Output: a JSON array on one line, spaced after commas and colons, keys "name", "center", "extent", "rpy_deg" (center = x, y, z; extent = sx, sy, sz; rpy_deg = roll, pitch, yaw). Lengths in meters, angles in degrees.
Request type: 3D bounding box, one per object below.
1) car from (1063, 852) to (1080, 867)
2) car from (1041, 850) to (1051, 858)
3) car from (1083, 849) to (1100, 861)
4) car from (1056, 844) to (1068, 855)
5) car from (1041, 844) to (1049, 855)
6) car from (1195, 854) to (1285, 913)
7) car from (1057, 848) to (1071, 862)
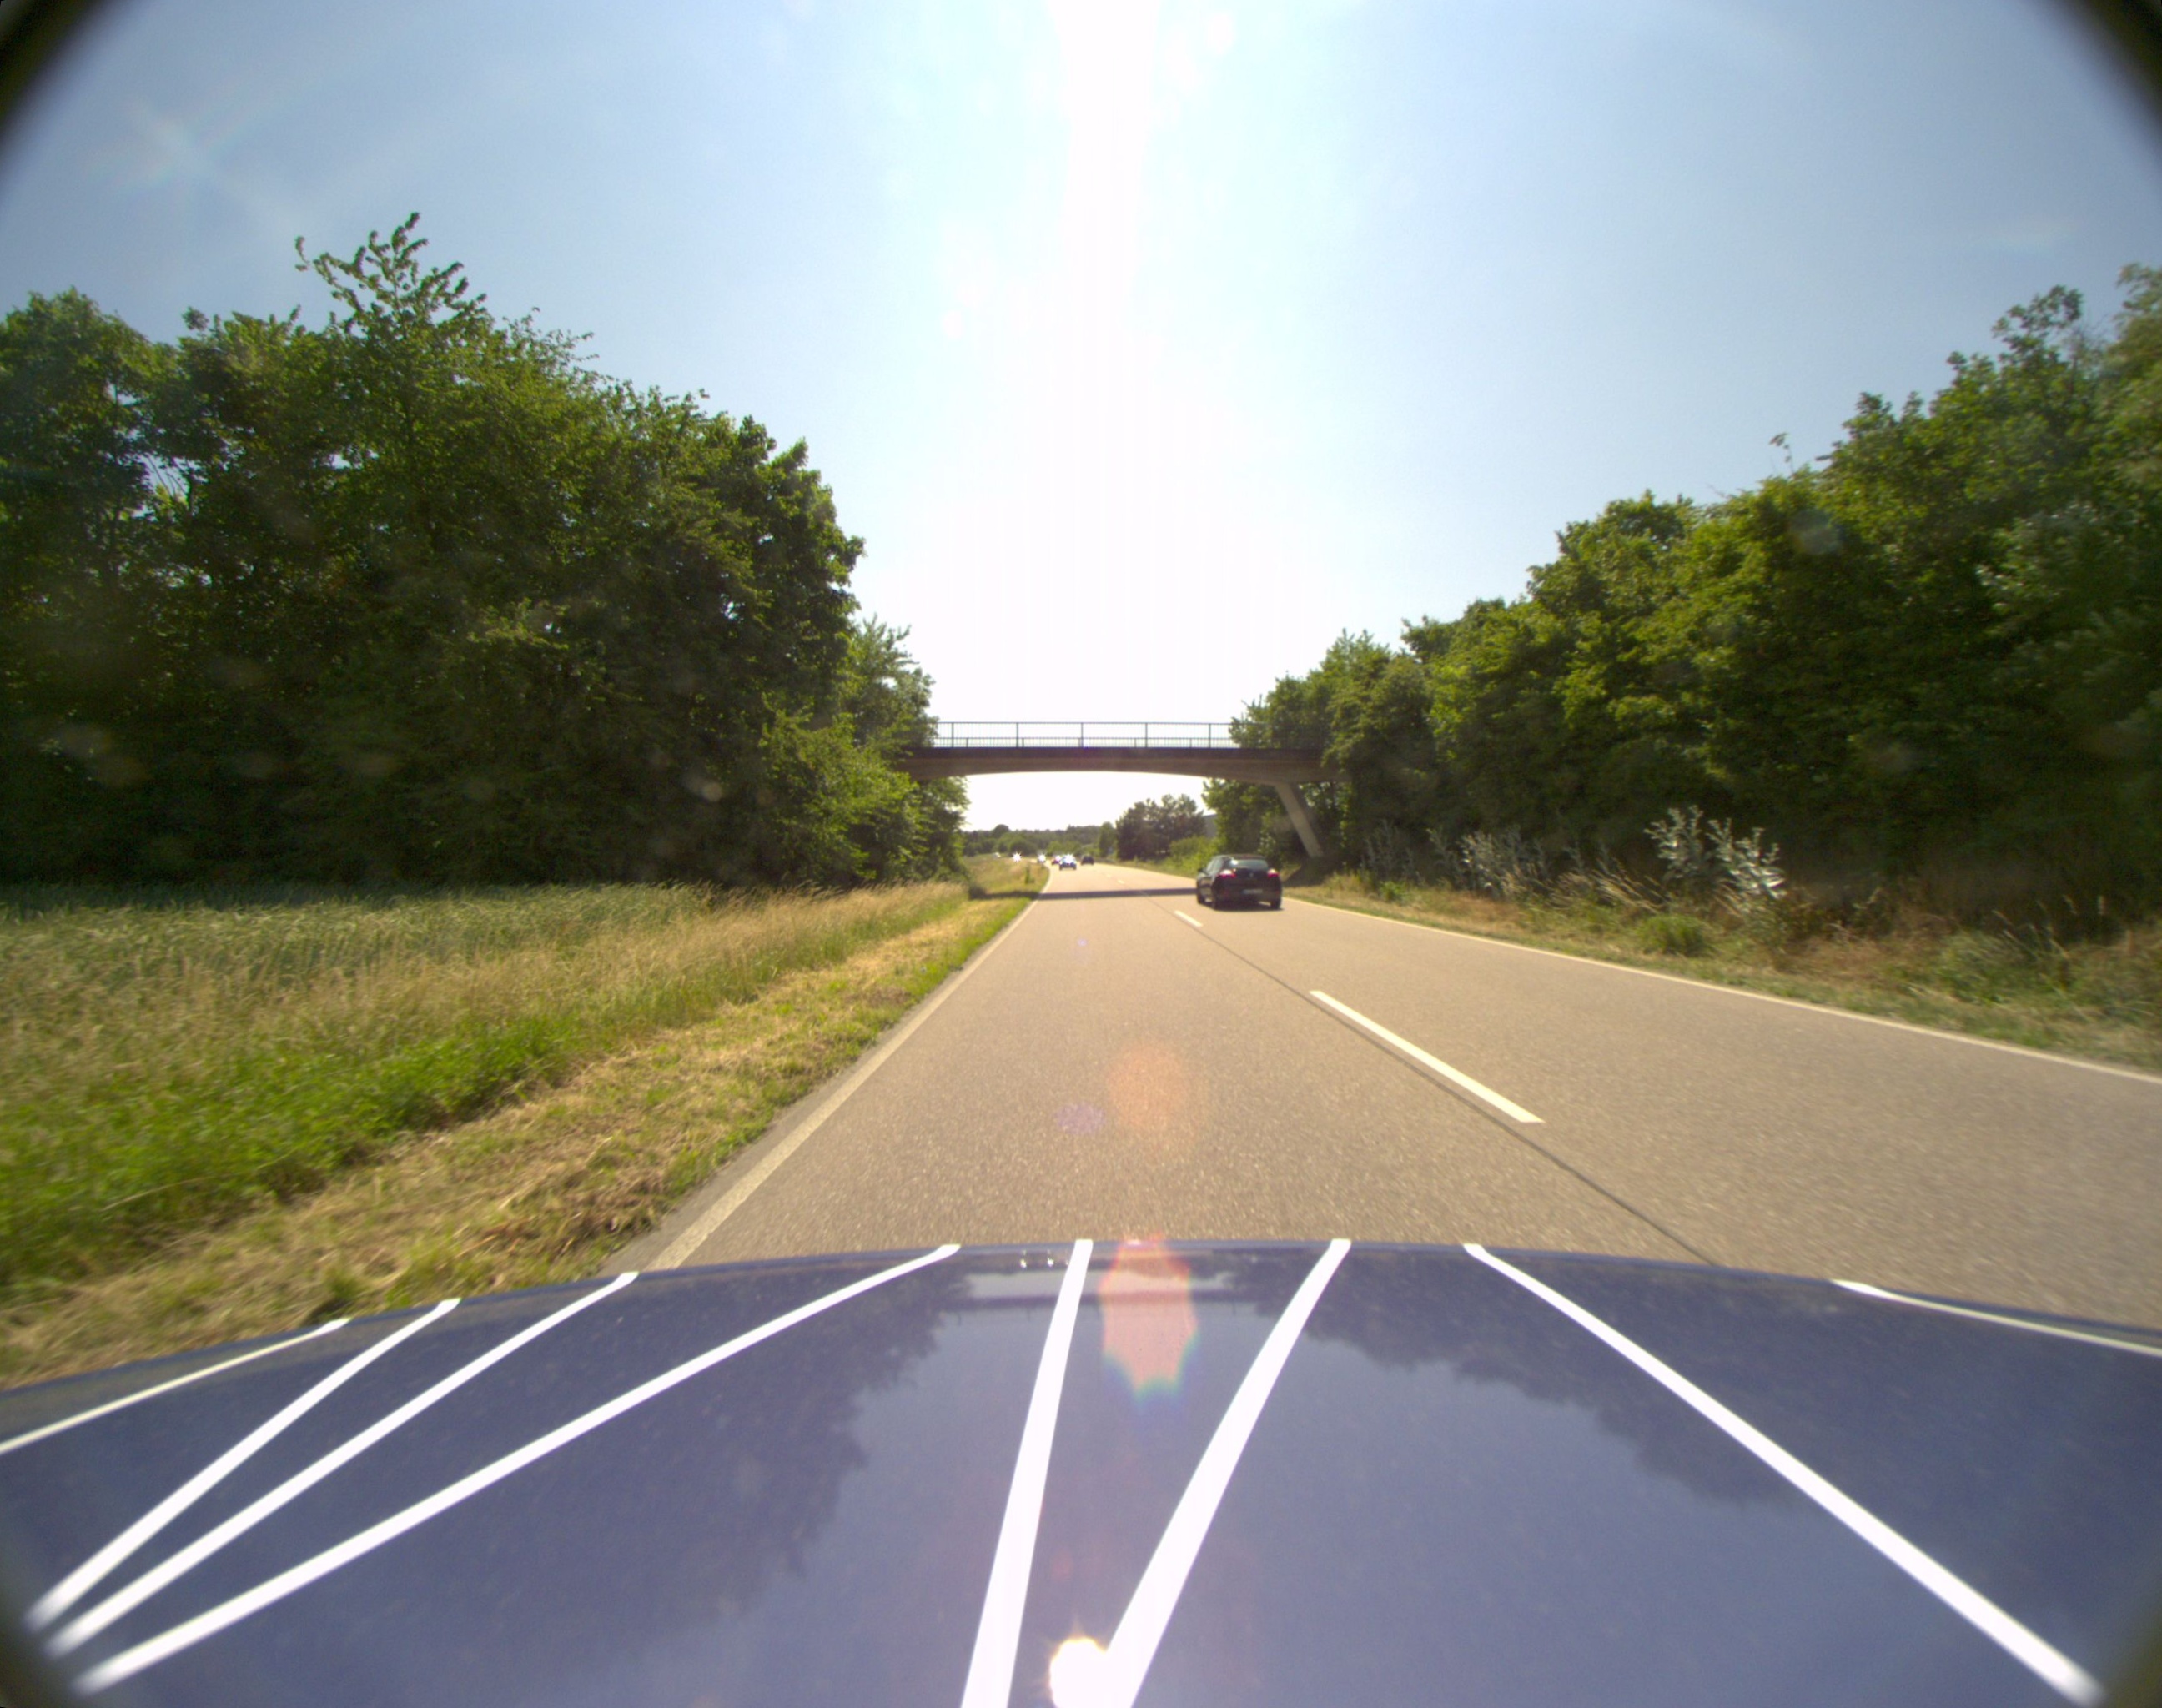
[{"name": "car", "center": [-1.006, 0.573, 79.558], "extent": [1.693, 1.431, 3.710], "rpy_deg": [-2, 1, 0]}, {"name": "car", "center": [-7.701, 0.033, 166.913], "extent": [1.553, 1.659, 4.000], "rpy_deg": [-2, 1, 3]}, {"name": "car", "center": [1.406, 0.081, 105.775], "extent": [1.999, 1.521, 5.506], "rpy_deg": [-1, 1, -2]}, {"name": "car", "center": [-5.473, -1.276, 219.124], "extent": [3.034, 2.987, 7.842], "rpy_deg": [1, 0, 0]}, {"name": "car", "center": [-10.404, -1.253, 220.170], "extent": [2.296, 2.612, 4.970], "rpy_deg": [1, 7, -5]}, {"name": "car", "center": [4.344, 0.746, 21.302], "extent": [1.711, 1.421, 4.000], "rpy_deg": [-2, 0, 1]}, {"name": "car", "center": [-2.692, 0.122, 118.973], "extent": [1.999, 2.002, 3.999], "rpy_deg": [-2, 0, 0]}]
